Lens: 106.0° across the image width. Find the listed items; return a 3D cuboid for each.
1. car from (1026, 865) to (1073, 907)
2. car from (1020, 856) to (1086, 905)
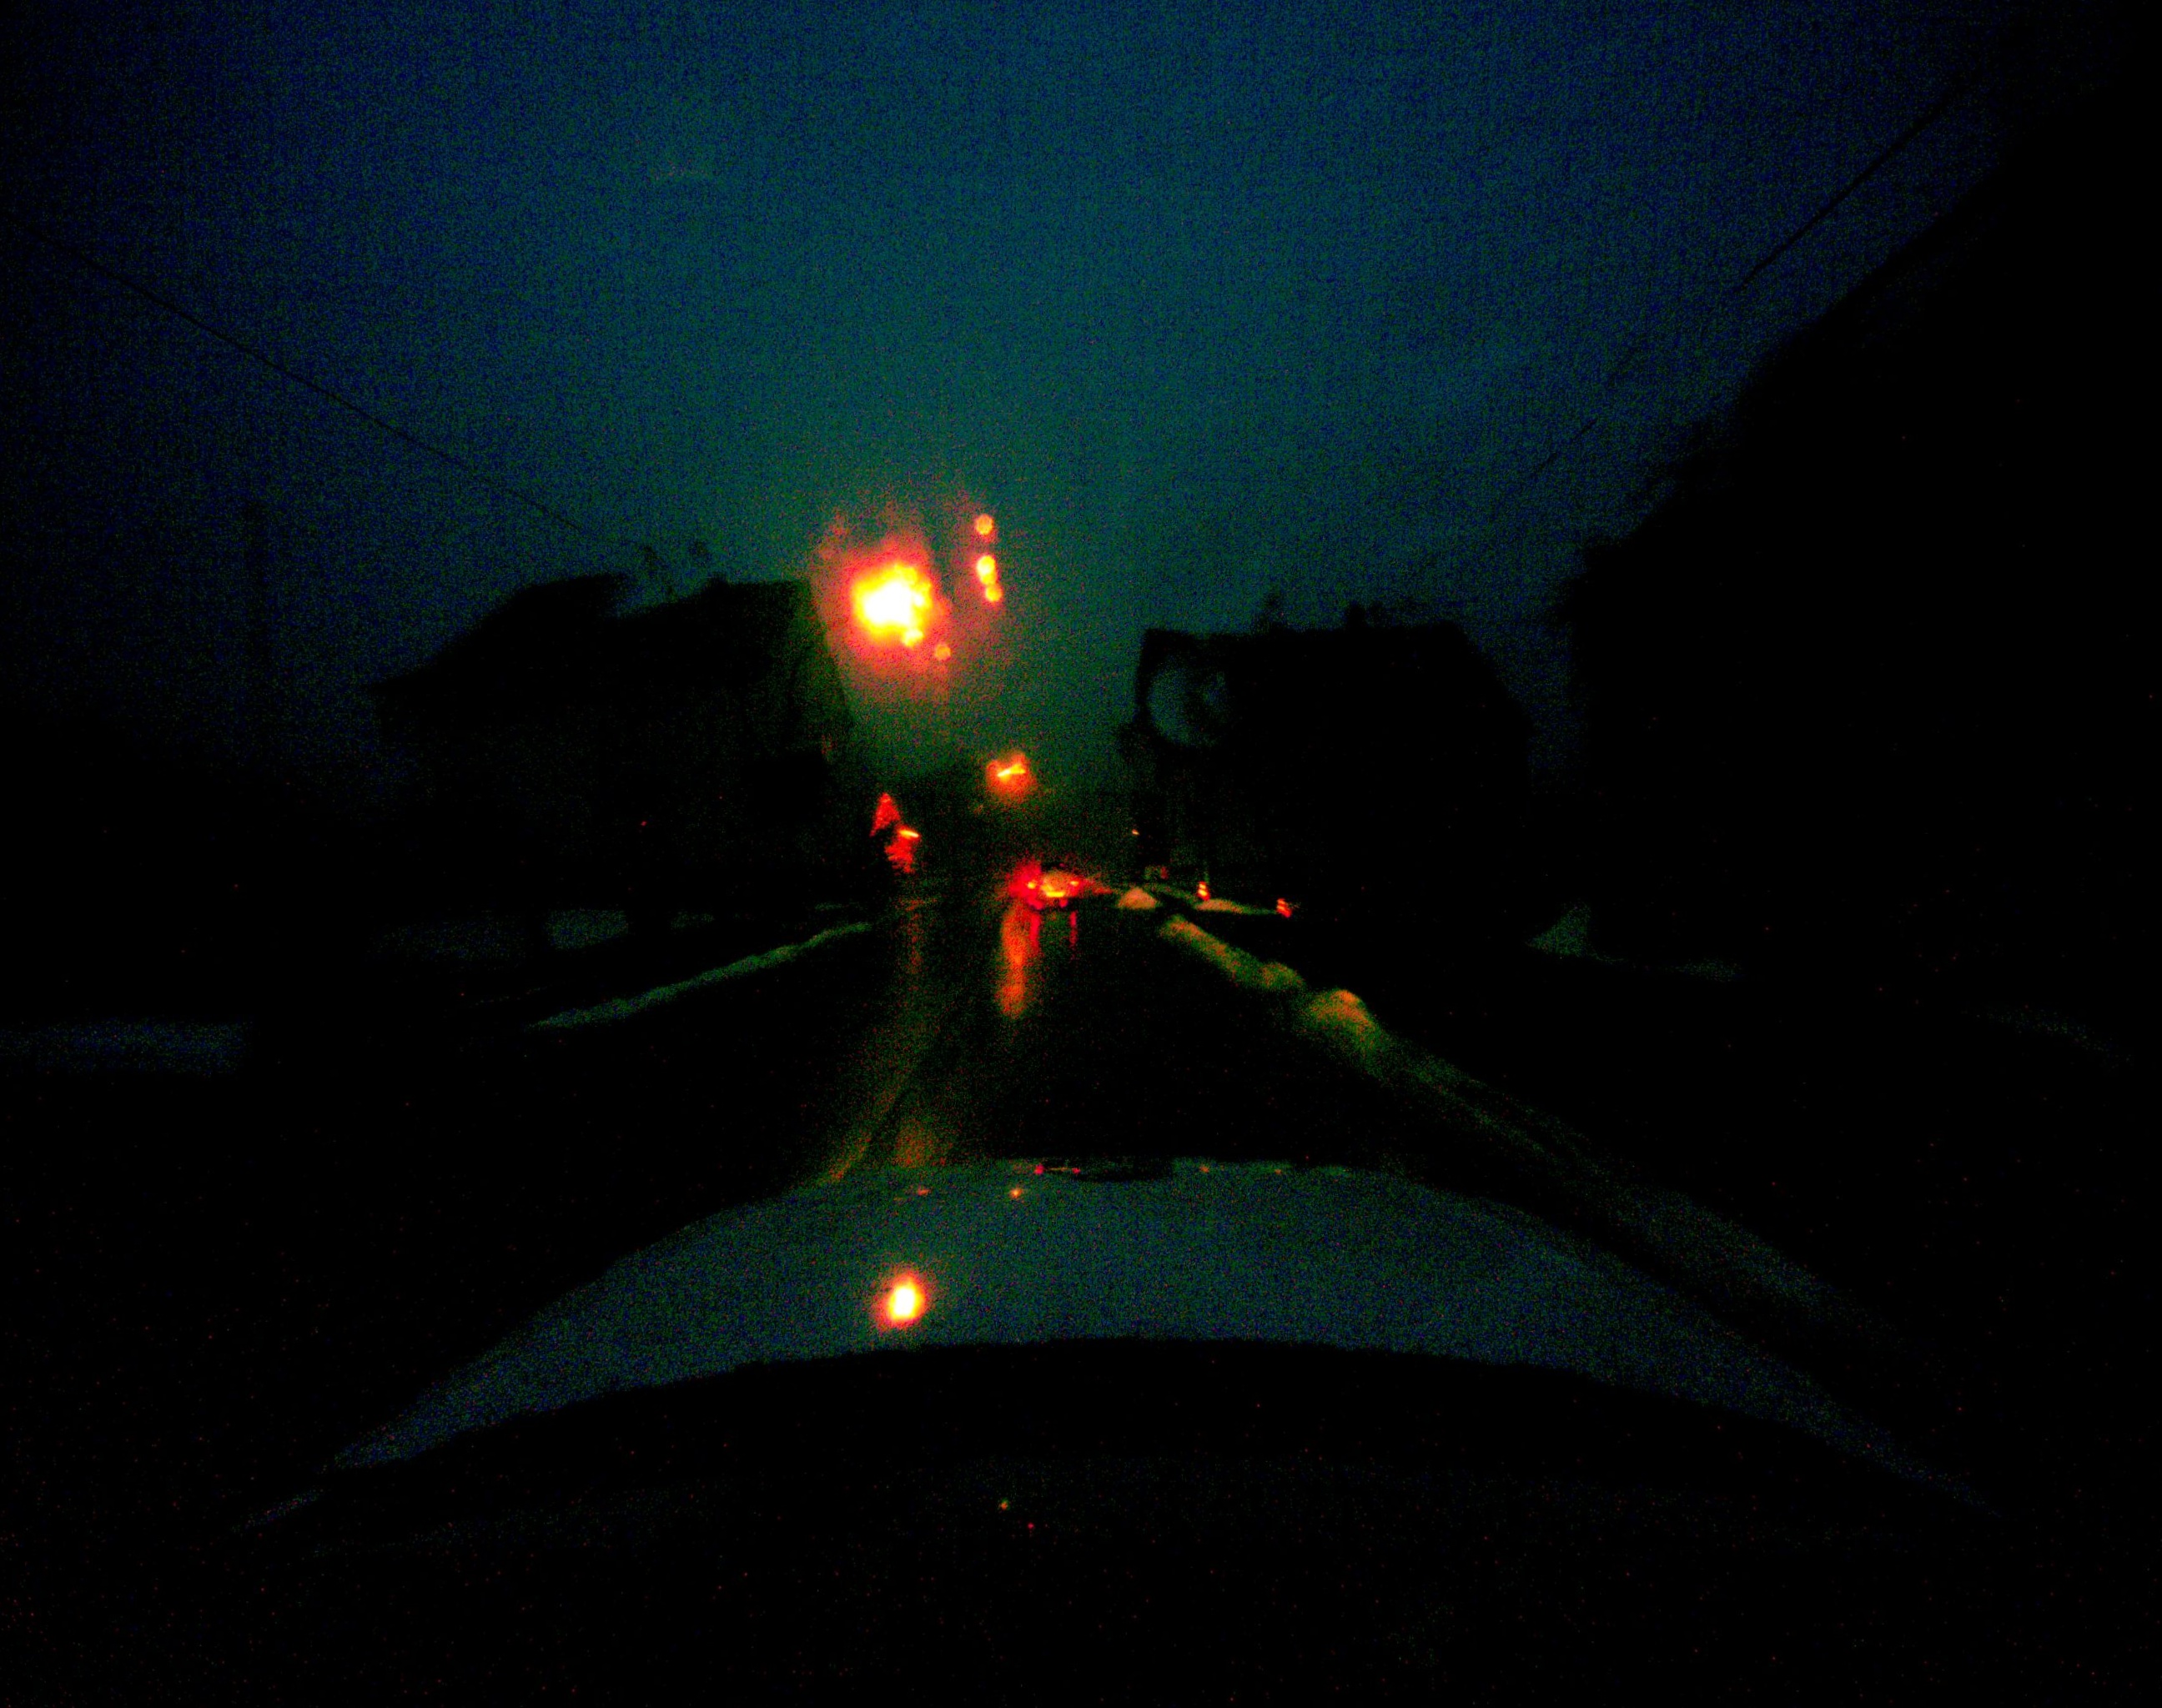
[{"bbox_3d":[-1.587,1.689,42.036,1.985,2.014,4.002,1,-3,3],"label":"car"},{"bbox_3d":[-0.863,0.922,27.305,1.987,1.508,3.999,1,-3,1],"label":"car"}]
